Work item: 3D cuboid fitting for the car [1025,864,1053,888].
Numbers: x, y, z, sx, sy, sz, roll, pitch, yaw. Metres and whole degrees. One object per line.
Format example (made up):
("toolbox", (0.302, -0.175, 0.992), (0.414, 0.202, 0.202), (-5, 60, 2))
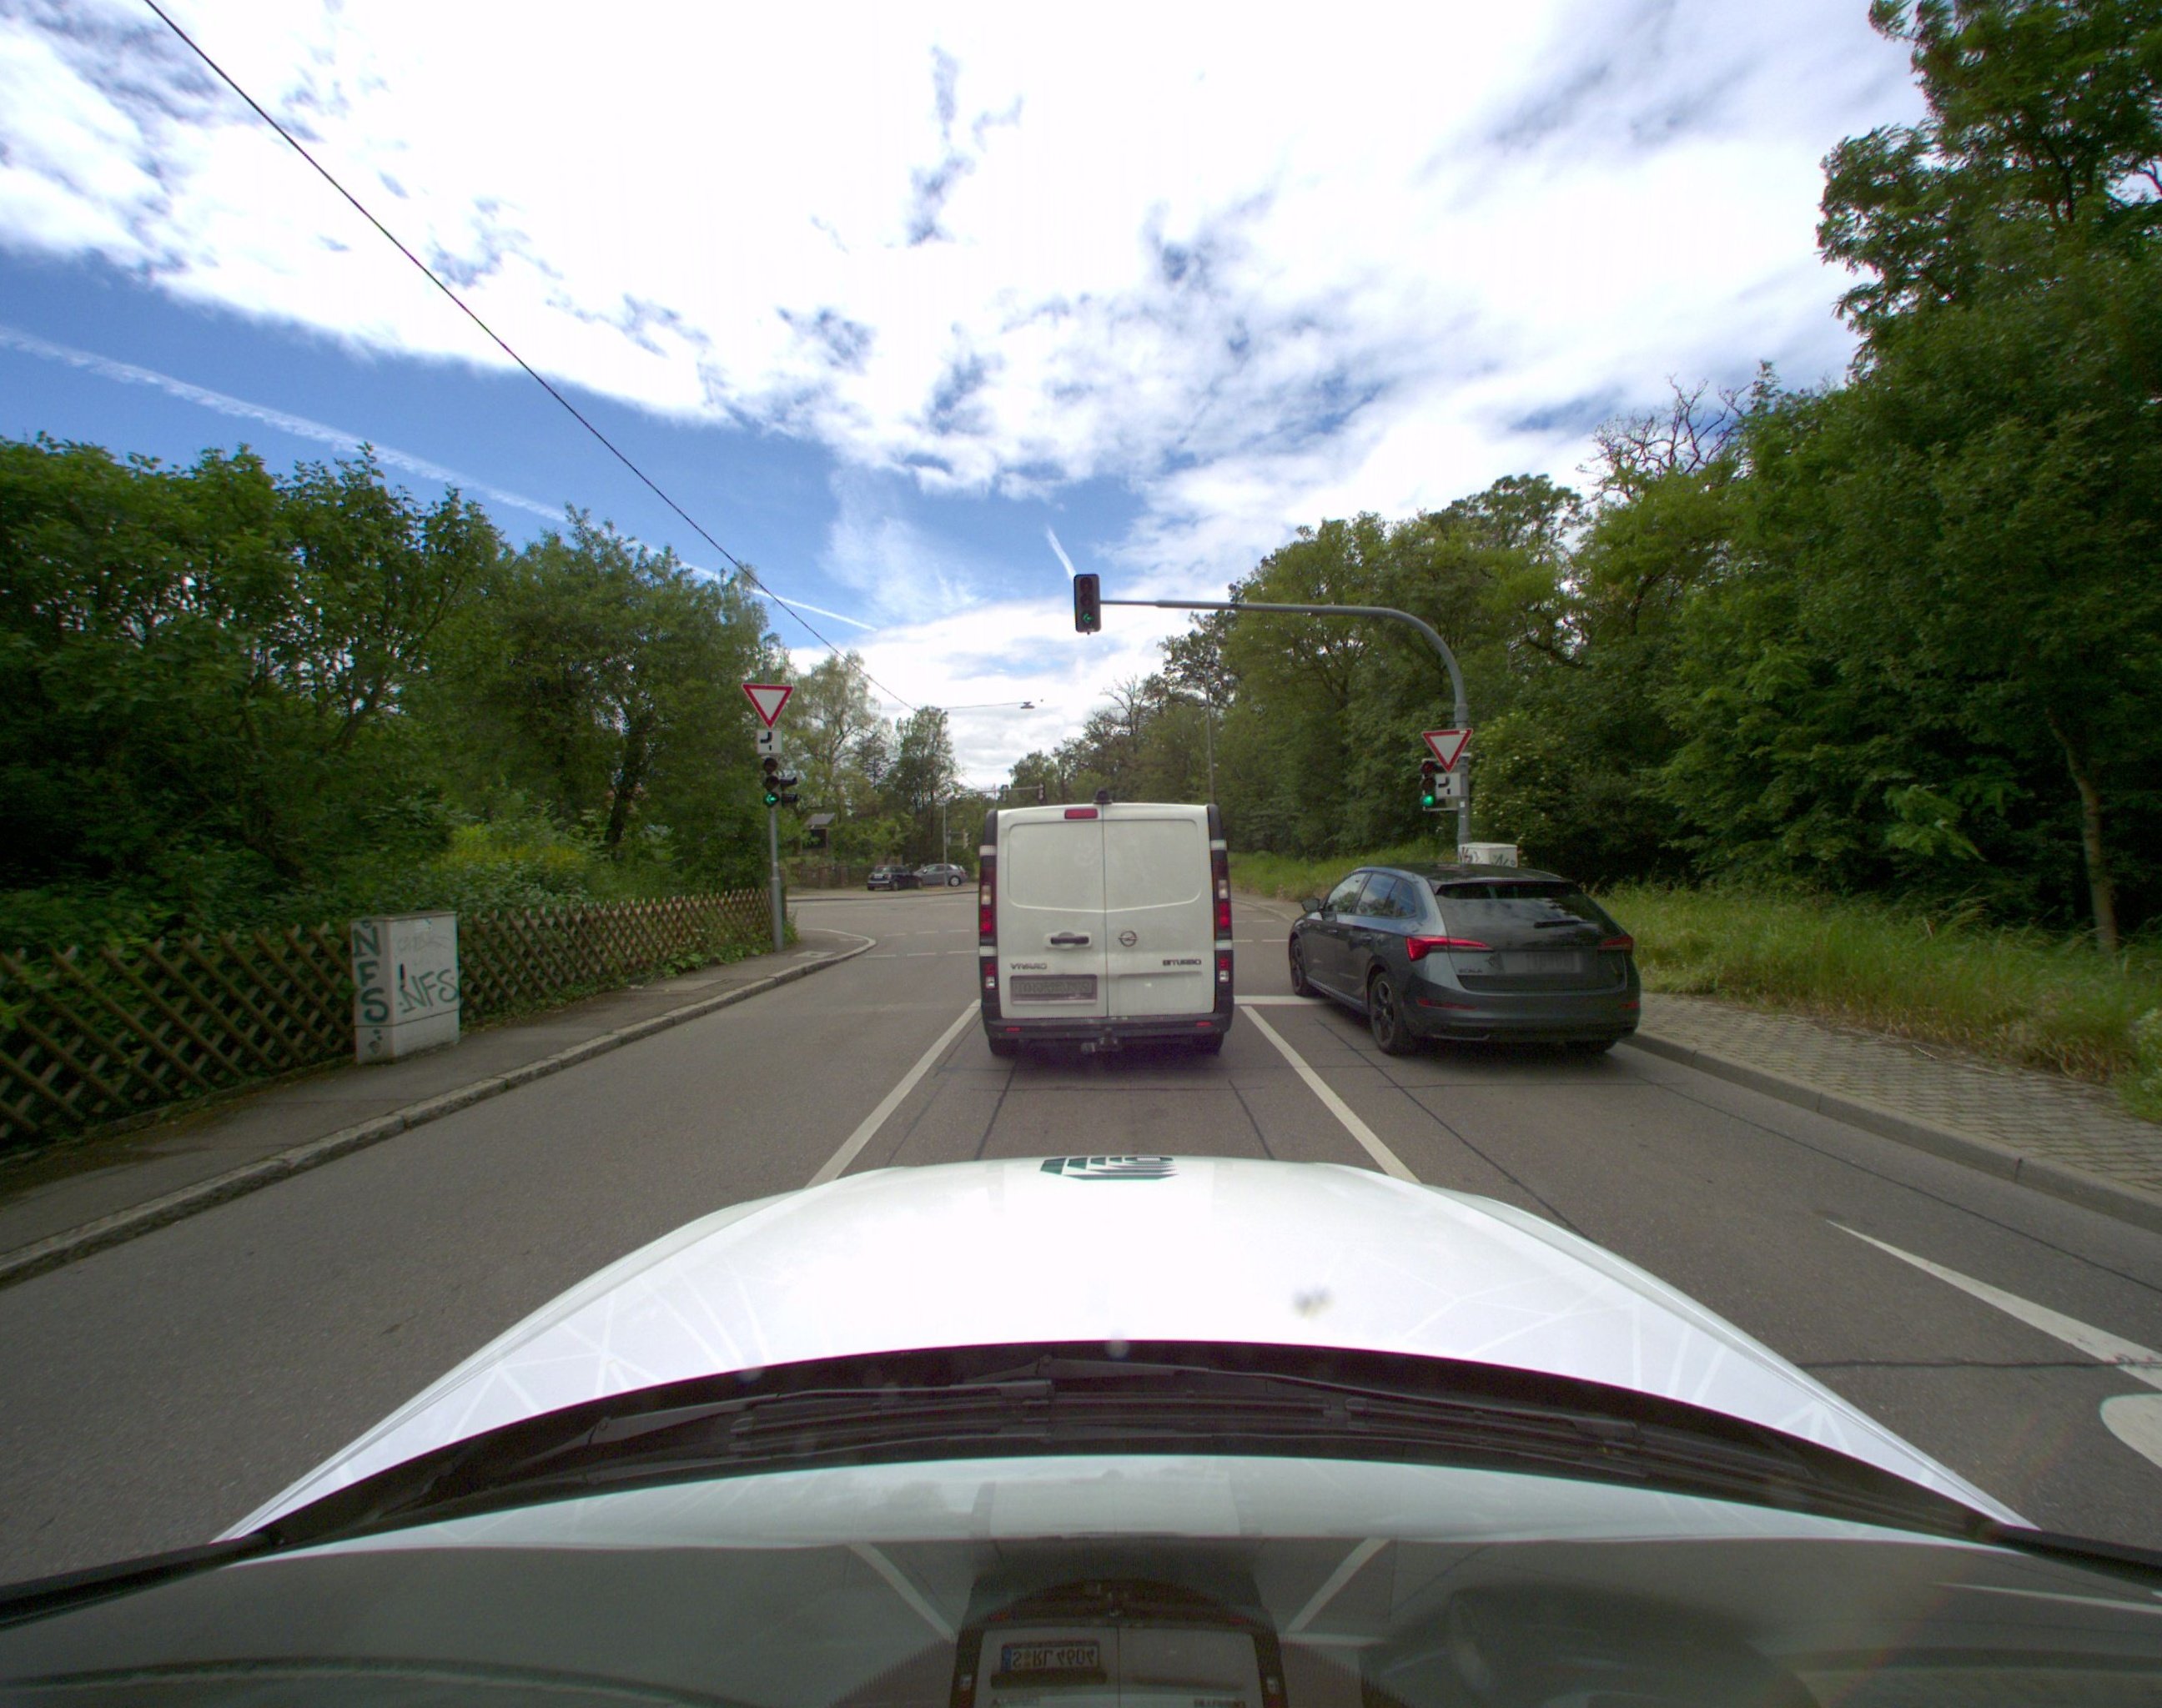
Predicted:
("car", (-2.849, 1.463, 56.018), (1.852, 1.507, 3.996), (-1, 0, -2))

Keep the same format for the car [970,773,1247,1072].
("car", (0.187, 0.481, 7.931), (1.910, 2.053, 4.613), (0, 0, 0))

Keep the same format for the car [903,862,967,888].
("car", (-9.897, 1.394, 55.259), (4.094, 1.553, 1.845), (-1, 0, -16))

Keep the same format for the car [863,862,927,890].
("car", (-10.249, 1.206, 45.056), (1.683, 1.449, 3.562), (1, 0, 22))

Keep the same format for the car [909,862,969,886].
("car", (-10.184, 1.399, 58.396), (4.094, 1.553, 1.845), (-1, 0, -16))

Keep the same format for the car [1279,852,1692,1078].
("car", (3.171, 0.741, 7.407), (1.786, 1.450, 4.000), (-1, 0, 1))
